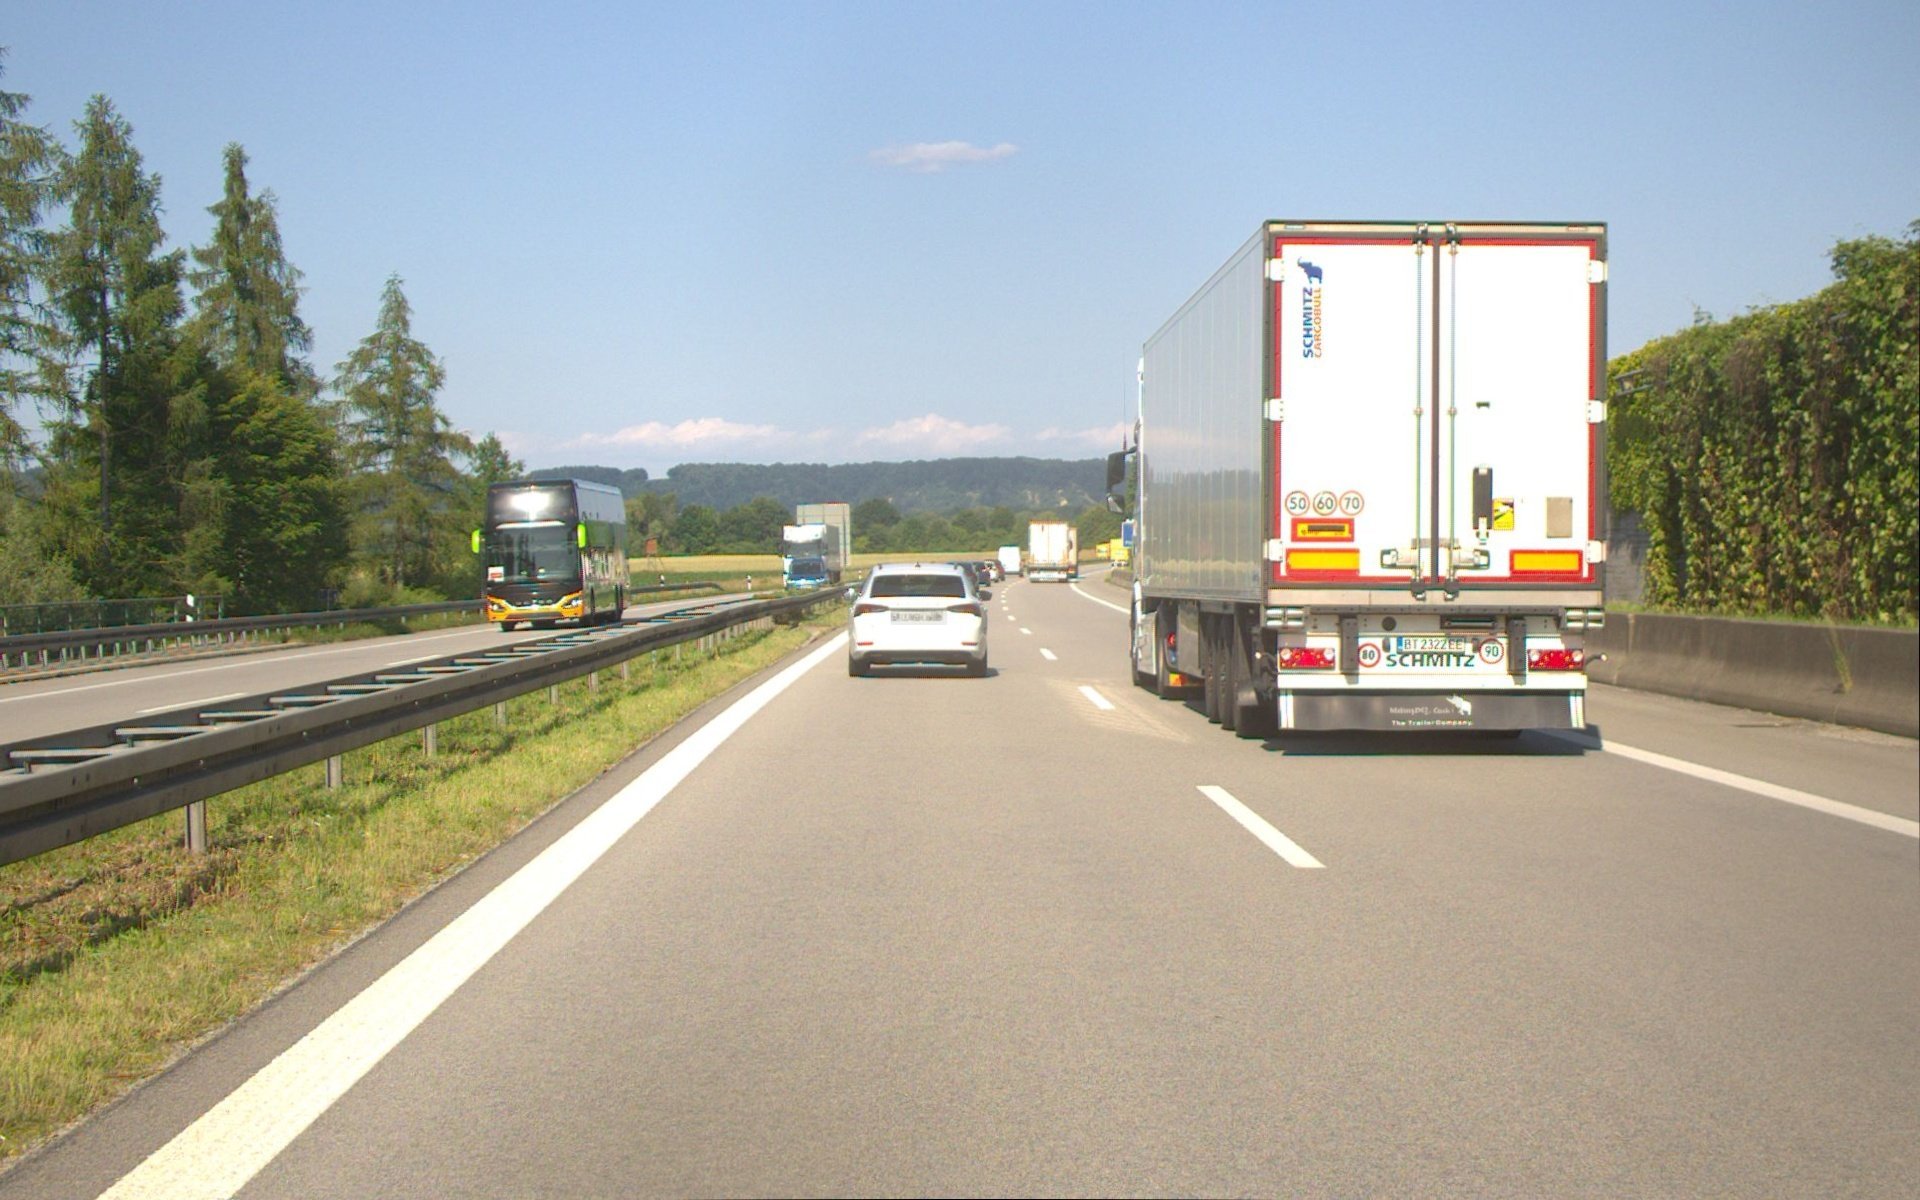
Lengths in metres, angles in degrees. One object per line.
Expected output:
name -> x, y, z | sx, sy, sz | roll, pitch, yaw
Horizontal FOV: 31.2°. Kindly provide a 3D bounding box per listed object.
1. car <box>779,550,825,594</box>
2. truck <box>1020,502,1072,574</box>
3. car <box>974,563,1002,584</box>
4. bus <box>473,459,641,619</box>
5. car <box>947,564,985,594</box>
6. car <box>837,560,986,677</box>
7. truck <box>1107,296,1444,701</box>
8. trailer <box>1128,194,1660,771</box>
car -> -7.084, -1.281, 154.419 | 1.754, 1.843, 5.011 | -3, 1, 0
truck -> 5.637, -4.105, 227.144 | 3.152, 4.596, 8.905 | -1, 1, 0
car -> 1.881, -1.773, 229.378 | 1.771, 1.416, 4.364 | 0, 1, 2
bus -> -11.193, -1.717, 97.022 | 2.936, 4.040, 14.669 | -2, 1, 0
car -> 0.294, -1.006, 163.464 | 1.771, 1.416, 4.495 | 0, 1, 1
car -> -0.646, 0.200, 45.278 | 1.840, 1.416, 5.255 | 0, 1, -1
truck -> 3.312, -1.076, 37.985 | 2.840, 3.953, 7.044 | -2, 1, -1
trailer -> 3.398, -0.945, 31.229 | 2.818, 3.953, 14.161 | -2, 1, 0
